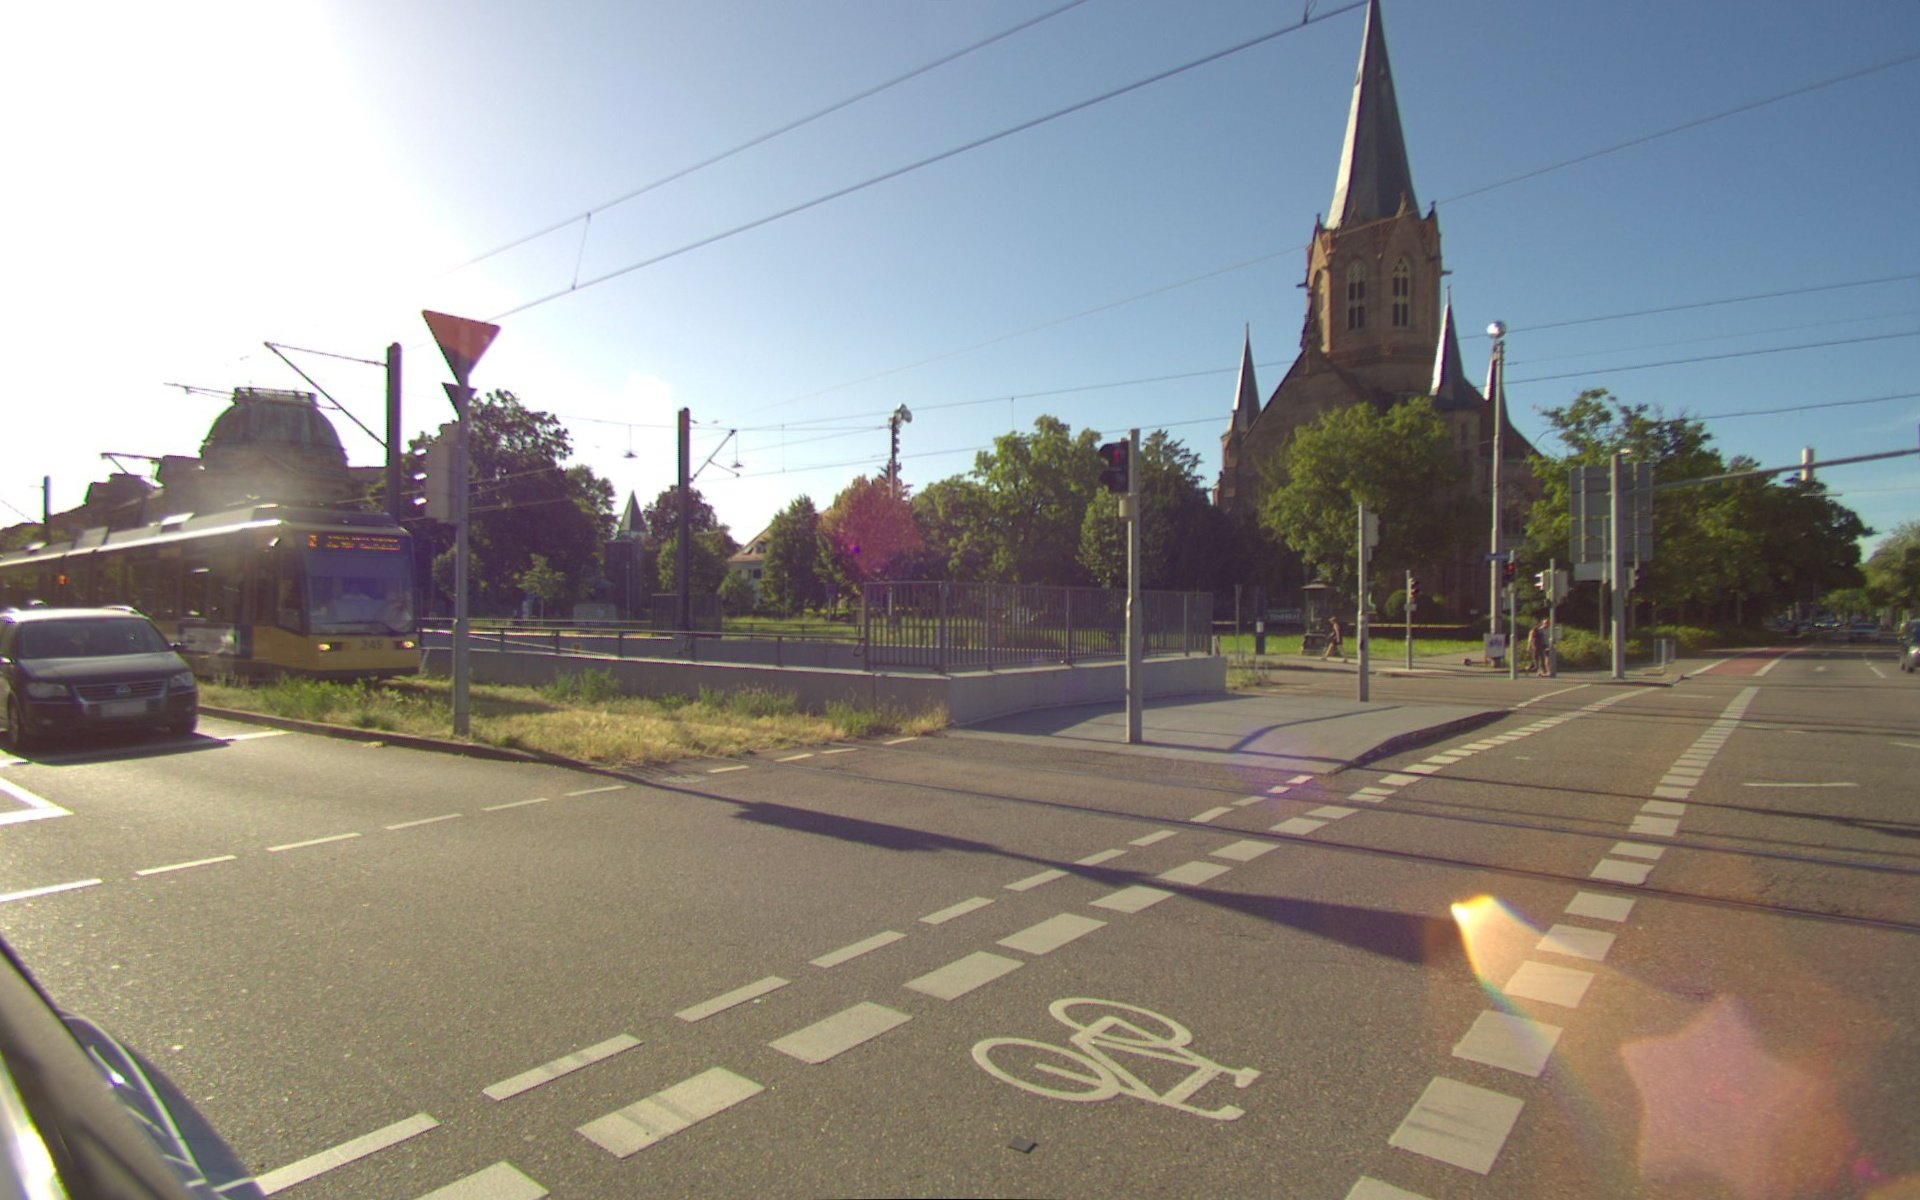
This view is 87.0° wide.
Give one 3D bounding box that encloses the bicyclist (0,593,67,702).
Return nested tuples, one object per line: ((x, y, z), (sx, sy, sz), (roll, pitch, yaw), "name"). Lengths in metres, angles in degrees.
((-14.933, 0.736, 16.265), (0.918, 1.672, 0.685), (0, 1, 39), "bicyclist")

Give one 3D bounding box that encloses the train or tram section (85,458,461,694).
((-14.990, -0.290, 21.248), (13.170, 3.713, 2.920), (-1, 0, 39), "train or tram section")

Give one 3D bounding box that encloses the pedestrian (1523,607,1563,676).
((17.727, 1.240, 30.786), (0.924, 2.029, 0.867), (0, 1, 40), "pedestrian")

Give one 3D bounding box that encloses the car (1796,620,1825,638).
((85.114, 2.879, 101.280), (3.885, 1.586, 1.839), (-2, 2, -44), "car")

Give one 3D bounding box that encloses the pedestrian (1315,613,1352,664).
((14.103, 1.432, 38.239), (1.113, 1.860, 0.835), (0, 1, 36), "pedestrian")

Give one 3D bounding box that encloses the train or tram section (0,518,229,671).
((-25.301, -0.050, 29.421), (13.615, 3.640, 2.921), (-1, 0, 38), "train or tram section")

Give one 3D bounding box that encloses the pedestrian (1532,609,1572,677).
((18.379, 1.307, 31.408), (0.924, 2.029, 0.867), (0, 1, 40), "pedestrian")

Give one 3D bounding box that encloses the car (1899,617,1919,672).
((32.368, 1.459, 33.387), (1.837, 1.586, 3.890), (0, 2, 40), "car")

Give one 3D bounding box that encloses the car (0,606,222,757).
((-11.414, 0.892, 13.049), (4.351, 1.548, 1.974), (0, 1, 39), "car")

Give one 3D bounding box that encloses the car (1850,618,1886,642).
((70.091, 2.283, 78.080), (4.644, 1.586, 1.770), (-2, 2, -45), "car")

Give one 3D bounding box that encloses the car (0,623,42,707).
((-19.296, 1.231, 19.328), (4.128, 1.440, 1.974), (0, 1, 39), "car")
